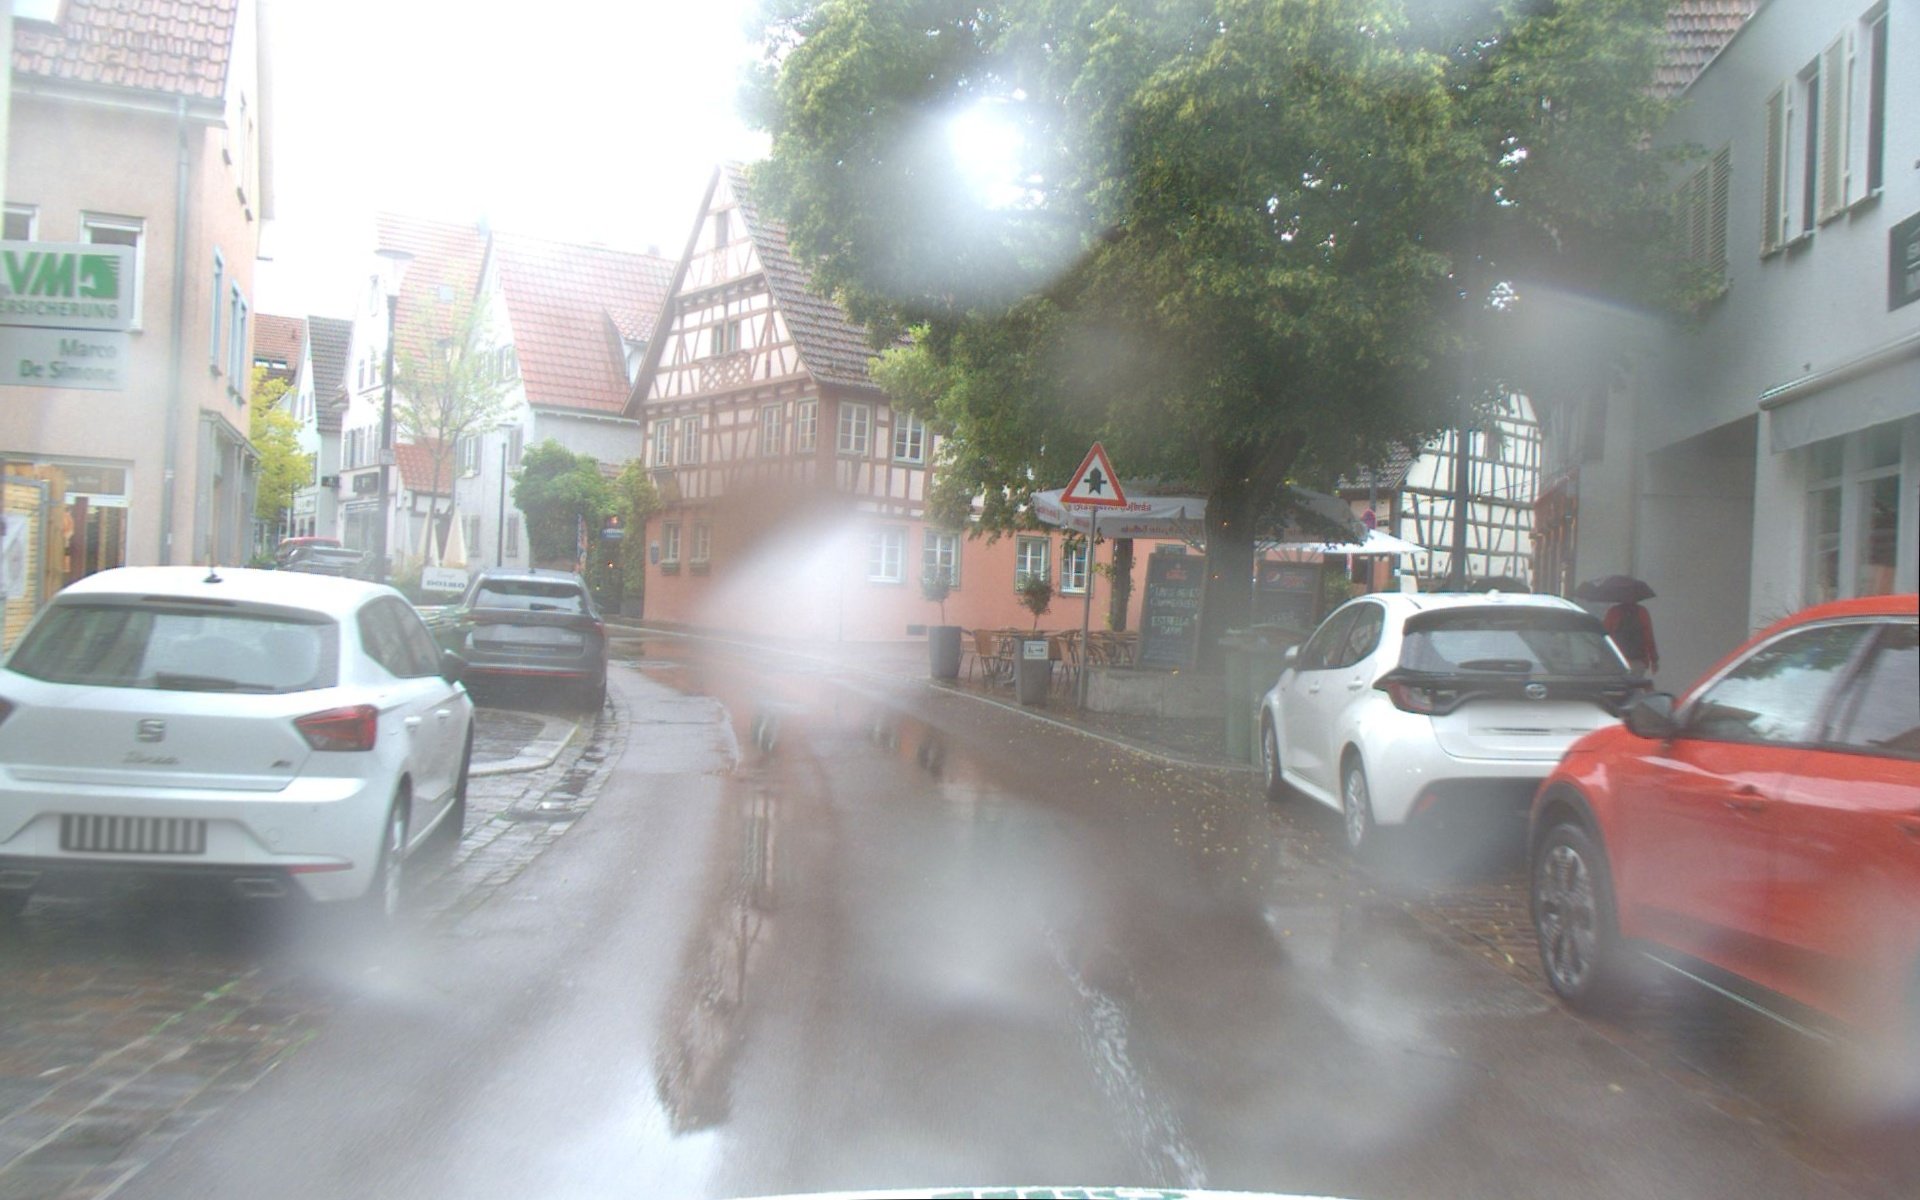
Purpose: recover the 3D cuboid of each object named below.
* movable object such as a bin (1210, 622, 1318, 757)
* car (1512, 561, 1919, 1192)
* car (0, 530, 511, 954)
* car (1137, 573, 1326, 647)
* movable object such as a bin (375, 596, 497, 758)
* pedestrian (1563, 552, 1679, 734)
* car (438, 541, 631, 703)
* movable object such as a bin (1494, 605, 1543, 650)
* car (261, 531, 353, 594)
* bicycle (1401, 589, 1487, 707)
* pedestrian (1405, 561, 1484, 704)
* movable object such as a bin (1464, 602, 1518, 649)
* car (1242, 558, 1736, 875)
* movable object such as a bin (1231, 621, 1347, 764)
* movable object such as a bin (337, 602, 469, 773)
[{"bbox_3d":[2.601,0.761,14.191,0.712,1.102,0.603,3,-2,-11],"label":"movable object such as a bin"},{"bbox_3d":[3.161,0.714,4.748,1.751,1.494,3.948,3,-2,-1],"label":"car"},{"bbox_3d":[-3.321,0.467,7.969,1.816,1.477,4.063,3,1,-10],"label":"car"},{"bbox_3d":[6.775,0.263,41.111,4.564,1.661,1.976,1,3,-36],"label":"car"},{"bbox_3d":[-4.011,0.576,12.705,0.686,1.163,0.718,3,1,-3],"label":"movable object such as a bin"},{"bbox_3d":[6.635,0.434,16.636,0.866,1.743,0.890,2,-2,10],"label":"pedestrian"},{"bbox_3d":[-4.928,0.220,19.065,1.845,1.567,4.382,3,0,-16],"label":"car"},{"bbox_3d":[13.267,0.651,39.274,0.690,1.044,0.846,4,-2,-36],"label":"movable object such as a bin"},{"bbox_3d":[-22.057,-1.280,55.767,1.879,1.842,3.951,5,0,-36],"label":"car"},{"bbox_3d":[6.010,0.572,20.634,0.905,1.374,2.217,1,0,14],"label":"bicycle"},{"bbox_3d":[6.038,0.397,20.644,0.891,1.728,0.862,1,-1,13],"label":"pedestrian"},{"bbox_3d":[12.420,0.587,38.691,0.821,1.040,0.846,4,-2,-36],"label":"movable object such as a bin"},{"bbox_3d":[3.065,0.597,10.491,1.751,1.582,3.948,2,0,-2],"label":"car"},{"bbox_3d":[2.681,0.748,13.517,0.712,1.112,0.609,3,-2,-11],"label":"movable object such as a bin"},{"bbox_3d":[-3.980,0.612,11.867,0.668,1.155,0.718,3,0,-3],"label":"movable object such as a bin"}]
